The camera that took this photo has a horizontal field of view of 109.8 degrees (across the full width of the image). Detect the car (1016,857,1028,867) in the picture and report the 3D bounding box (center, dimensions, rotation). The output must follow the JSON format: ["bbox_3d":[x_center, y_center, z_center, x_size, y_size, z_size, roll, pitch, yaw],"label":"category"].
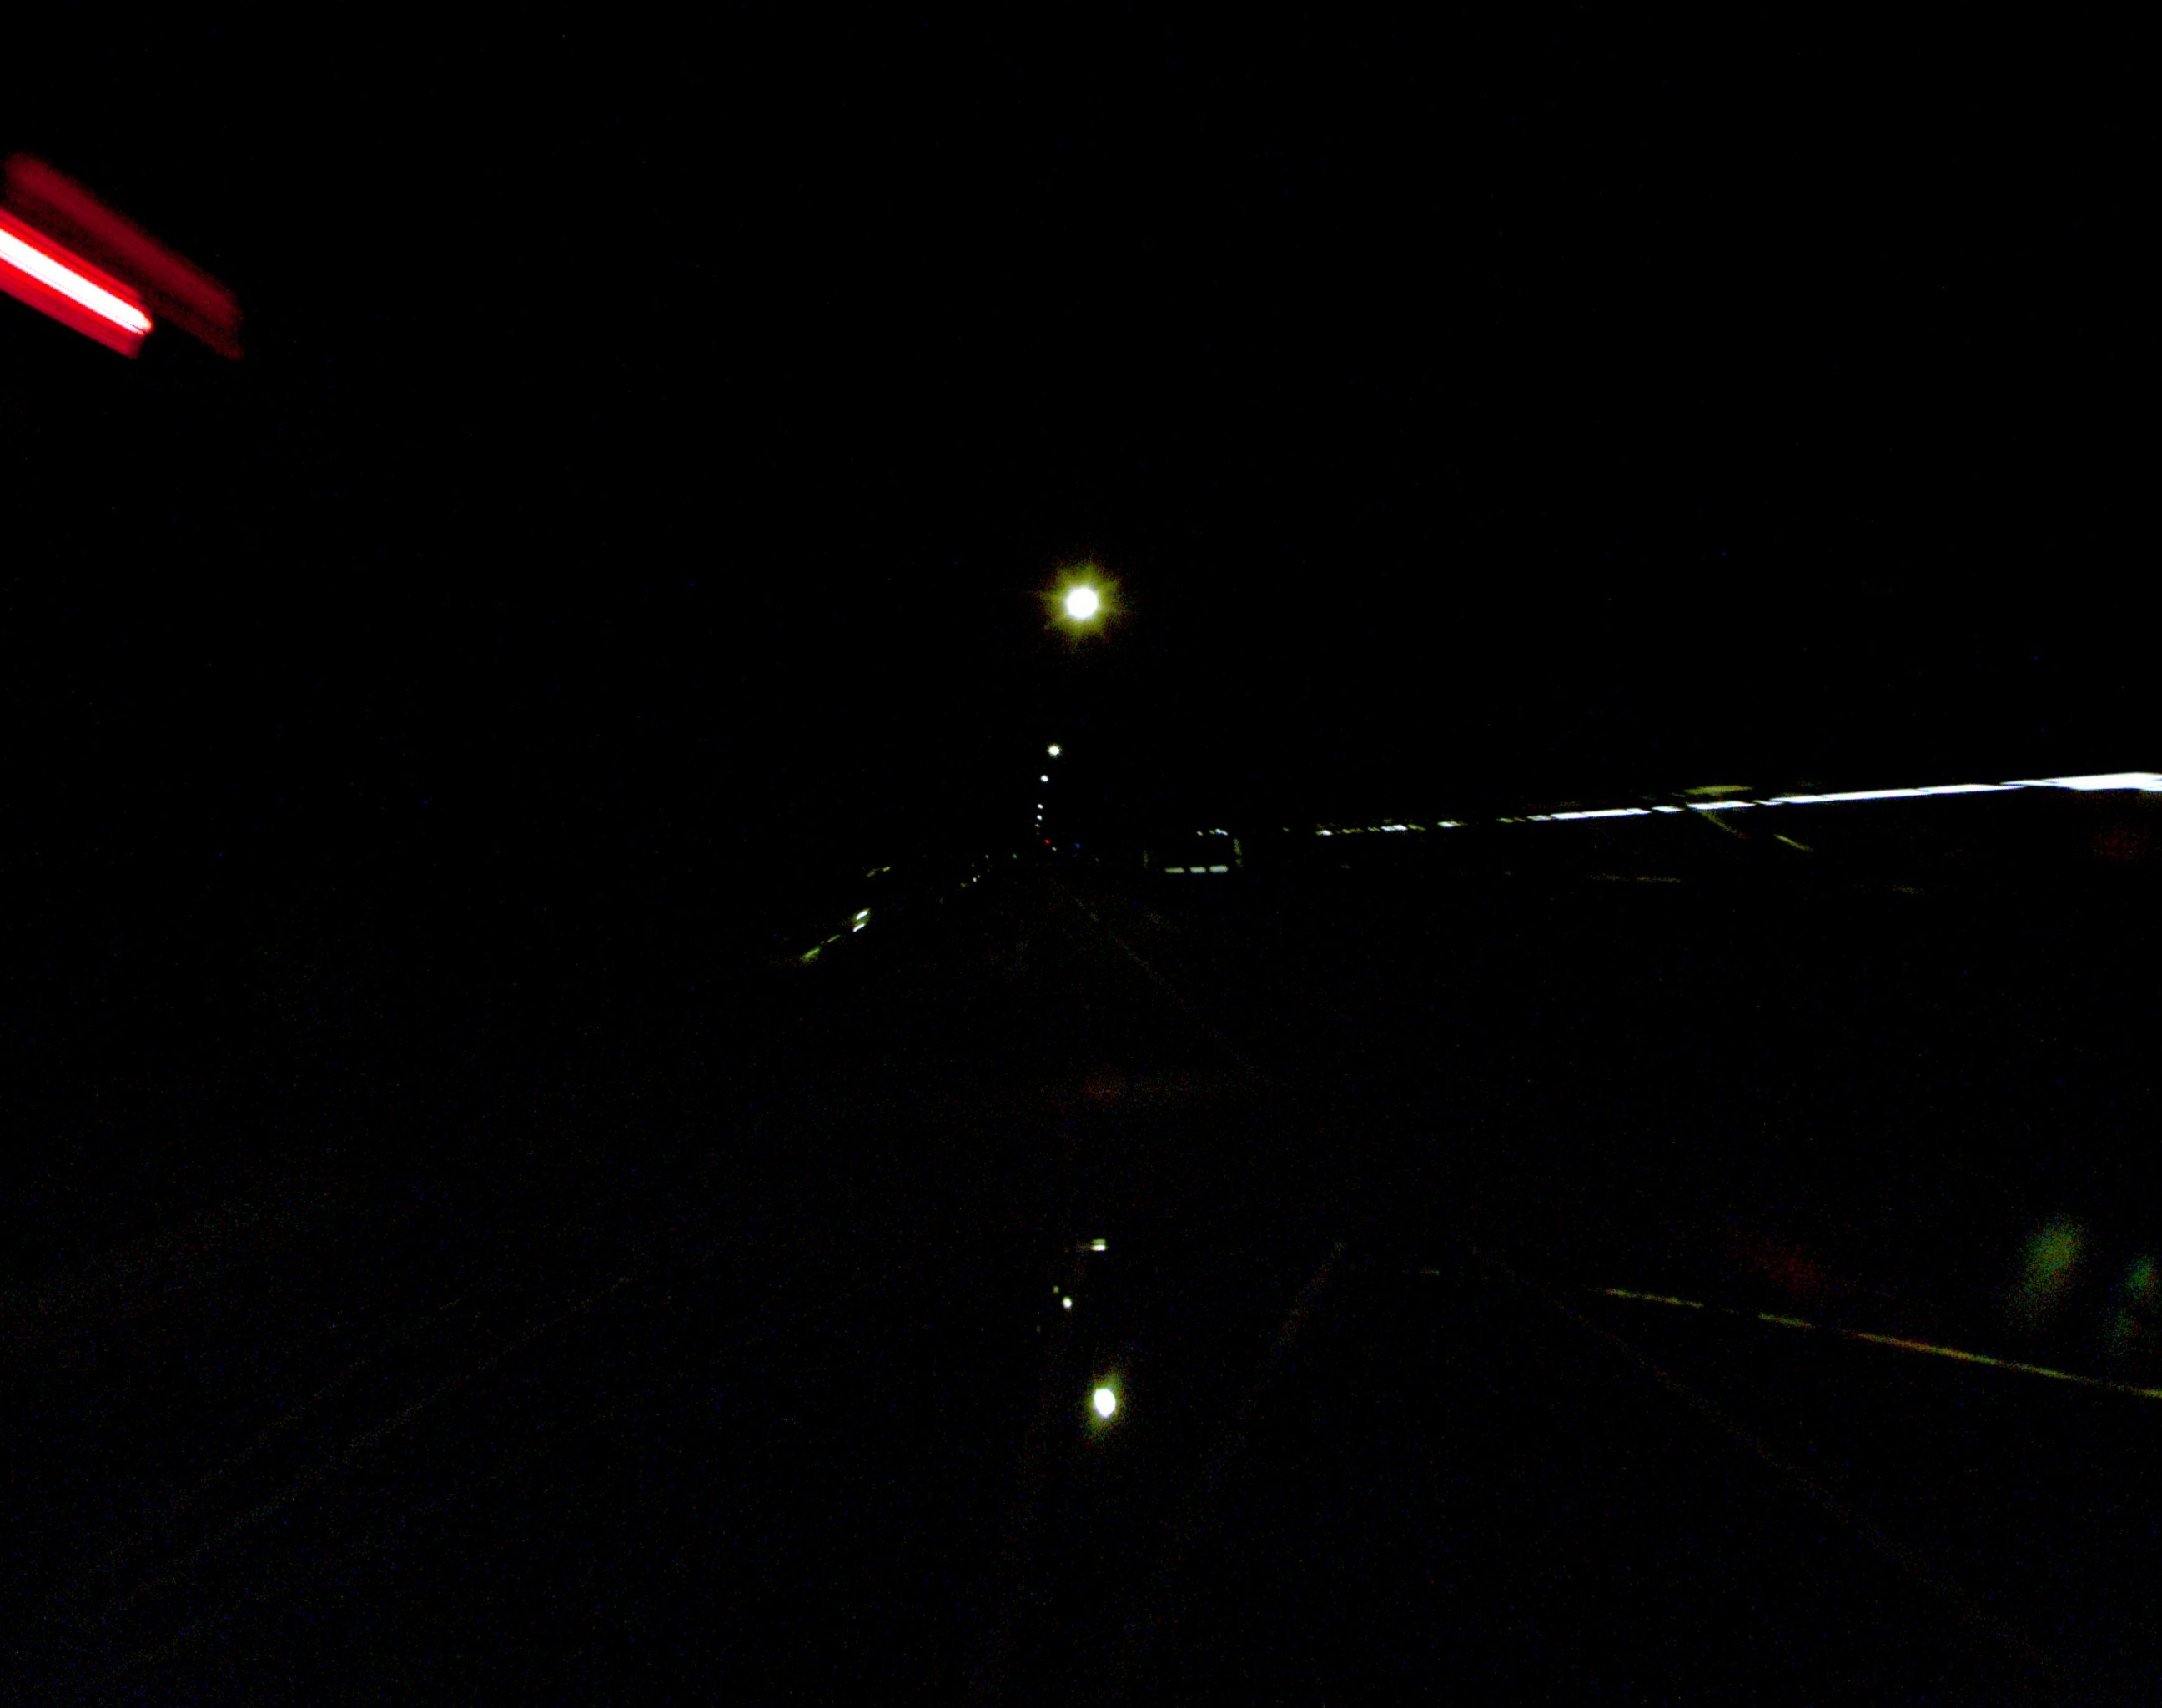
[{"bbox_3d":[-9.307,1.225,120.214,1.827,1.423,3.730,-3,0,-4],"label":"car"}]

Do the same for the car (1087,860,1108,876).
[{"bbox_3d":[1.594,1.365,75.196,1.826,1.423,3.731,-3,0,-1],"label":"car"}]

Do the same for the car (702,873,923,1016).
[{"bbox_3d":[-3.309,1.028,10.146,1.591,1.452,3.797,-1,0,0],"label":"car"}]

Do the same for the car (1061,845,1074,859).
[{"bbox_3d":[-2.616,-0.287,141.914,2.005,2.493,4.952,-3,0,-4],"label":"car"}]

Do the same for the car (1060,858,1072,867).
[{"bbox_3d":[-2.610,1.438,130.366,1.827,1.423,3.730,-3,0,-4],"label":"car"}]

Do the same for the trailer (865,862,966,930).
[{"bbox_3d":[-4.044,0.982,19.110,1.604,1.486,3.734,-1,0,1],"label":"trailer"}]

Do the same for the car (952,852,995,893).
[{"bbox_3d":[-4.819,0.803,34.582,1.781,1.762,4.420,1,0,-6],"label":"car"}]

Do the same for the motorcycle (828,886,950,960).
[{"bbox_3d":[-3.405,1.188,13.712,0.727,1.124,2.232,-1,0,31],"label":"motorcycle"}]

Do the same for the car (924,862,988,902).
[{"bbox_3d":[-4.525,0.980,28.154,1.781,1.351,4.422,1,0,-2],"label":"car"}]

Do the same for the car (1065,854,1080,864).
[{"bbox_3d":[-1.232,0.752,111.791,1.827,1.423,3.730,-3,0,-4],"label":"car"}]

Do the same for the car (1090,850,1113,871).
[{"bbox_3d":[1.853,0.594,69.307,1.883,1.798,3.731,-3,0,-1],"label":"car"}]

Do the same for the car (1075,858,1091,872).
[{"bbox_3d":[0.236,1.388,97.210,1.826,1.637,3.731,1,0,-1],"label":"car"}]

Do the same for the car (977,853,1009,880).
[{"bbox_3d":[-5.565,0.795,48.443,1.934,1.655,3.772,1,0,-5],"label":"car"}]
